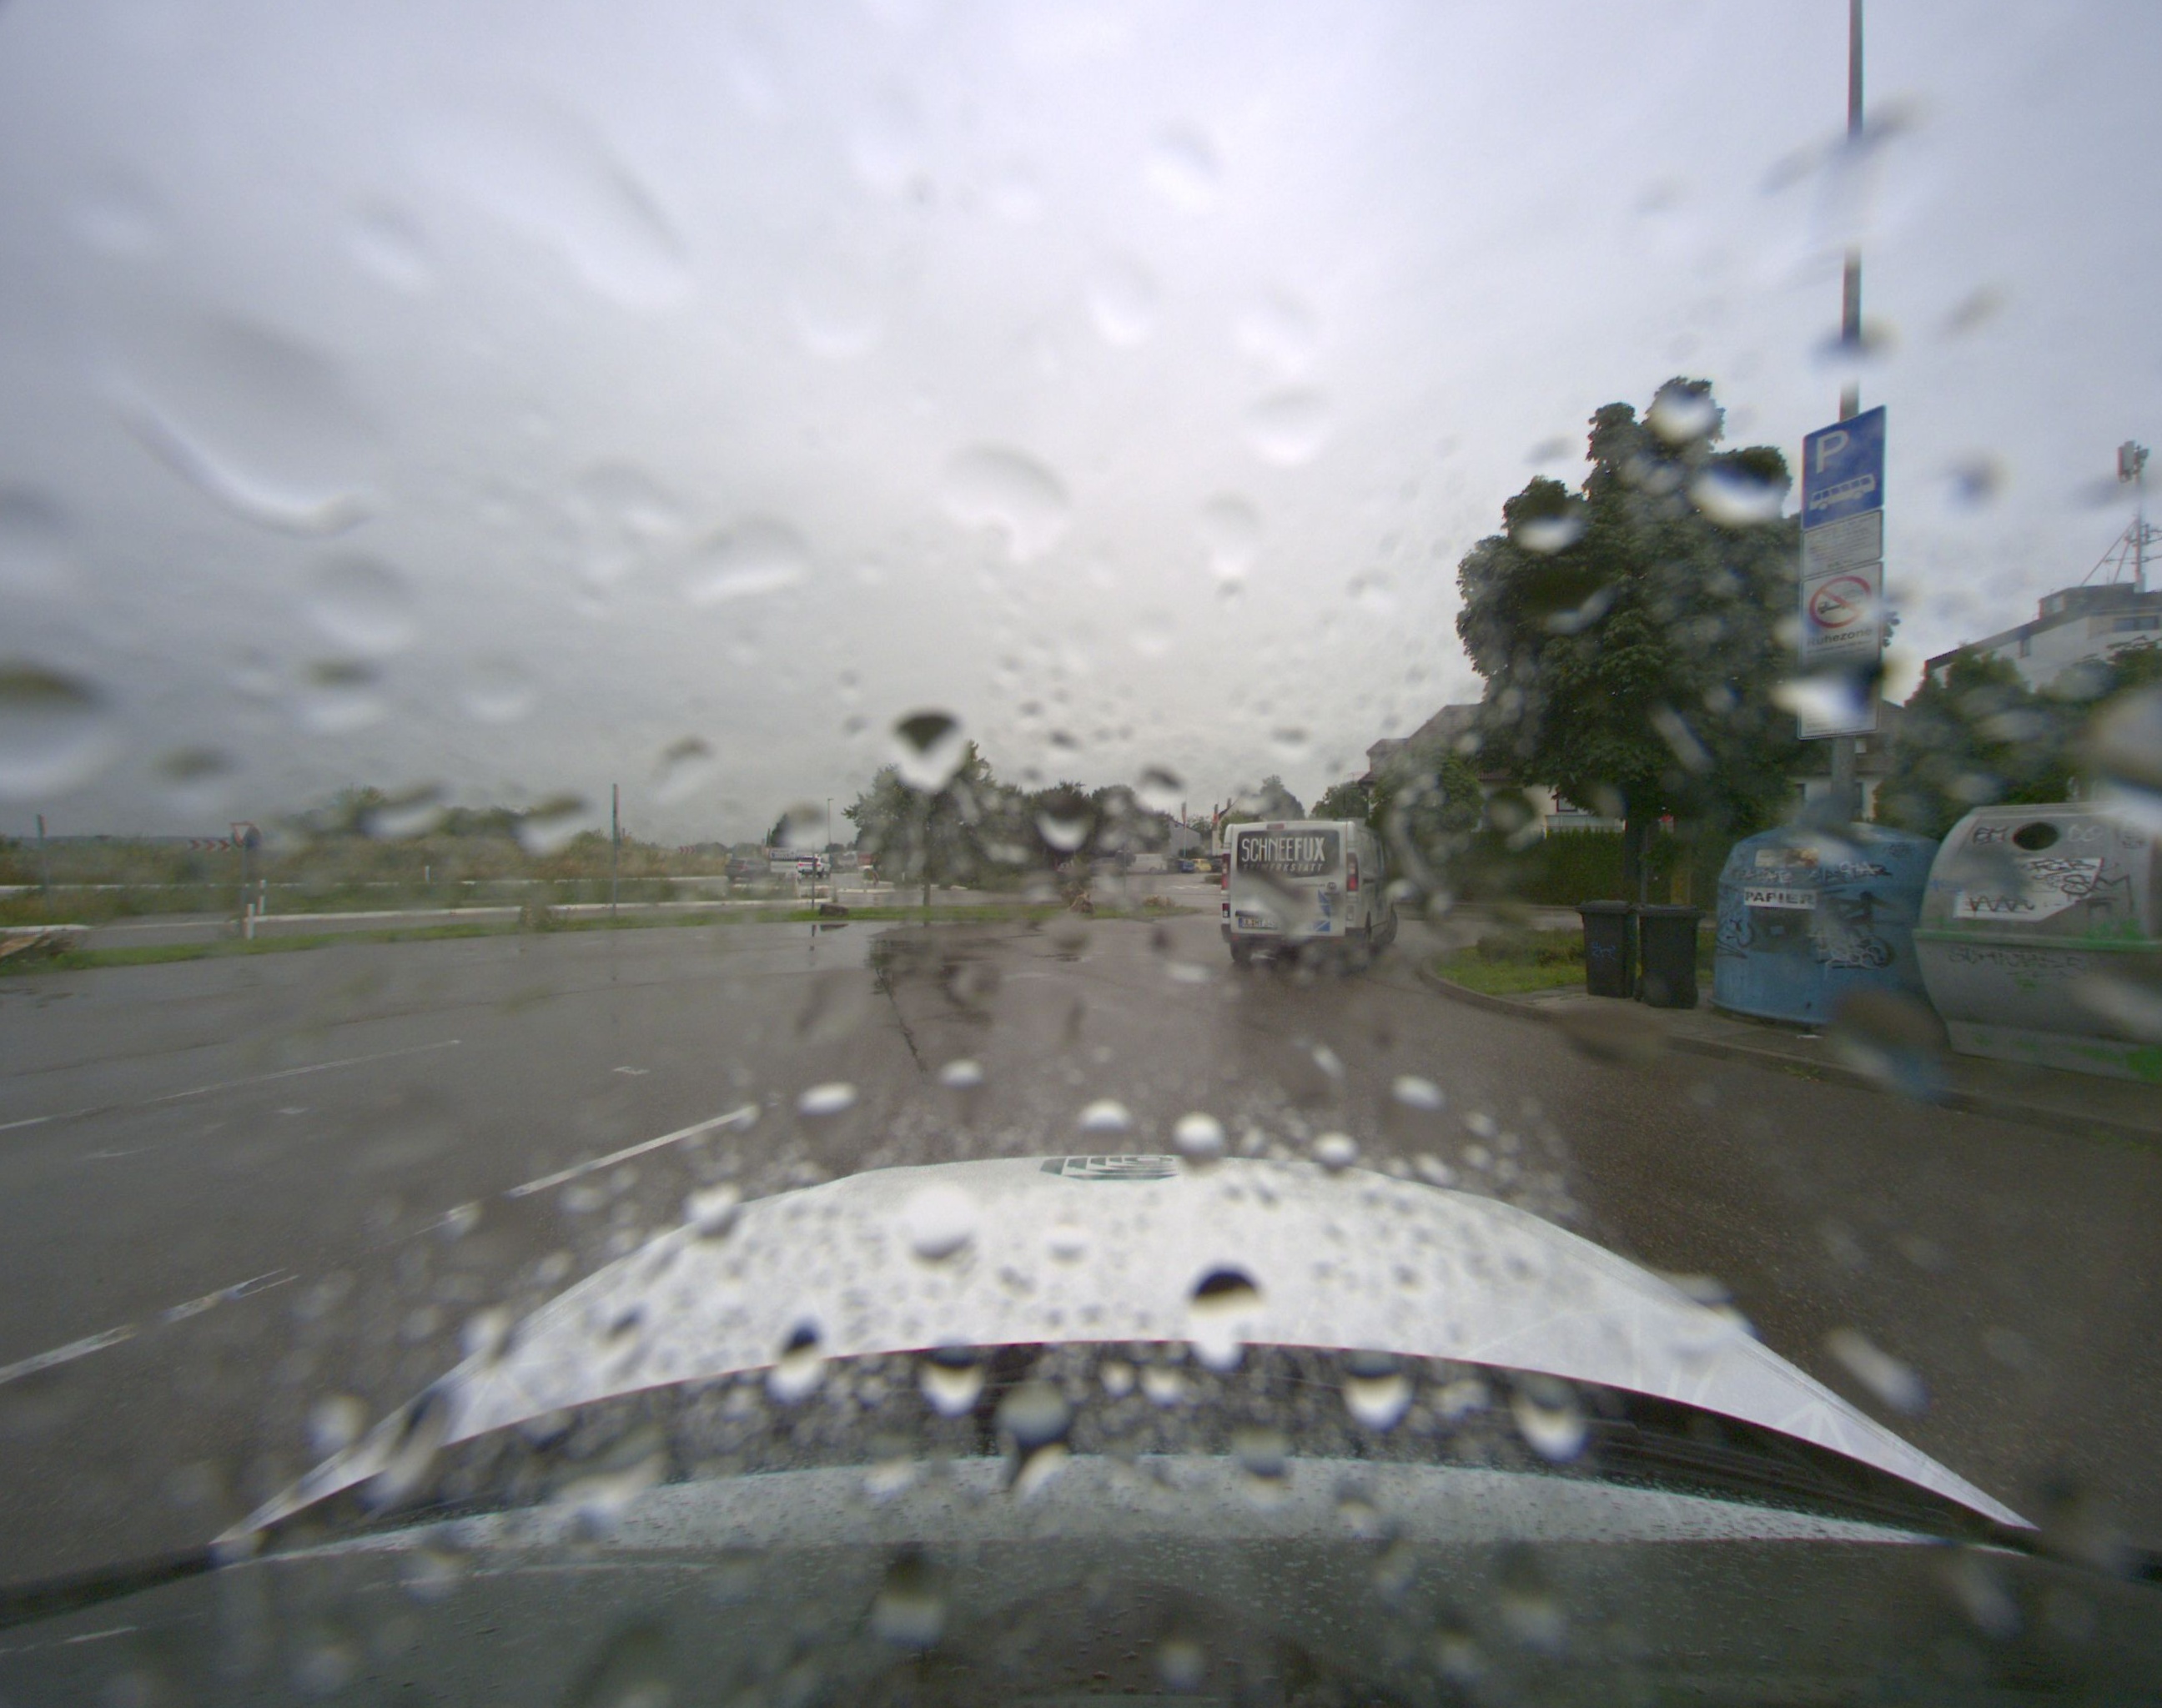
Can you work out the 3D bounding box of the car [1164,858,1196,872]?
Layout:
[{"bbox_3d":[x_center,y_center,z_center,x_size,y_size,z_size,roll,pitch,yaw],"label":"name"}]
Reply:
[{"bbox_3d":[10.263,1.117,84.532,1.558,1.458,3.650,-1,0,-25],"label":"car"}]

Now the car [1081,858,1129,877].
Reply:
[{"bbox_3d":[2.031,1.157,68.742,3.700,1.551,1.458,-1,0,20],"label":"car"}]

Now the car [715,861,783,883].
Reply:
[{"bbox_3d":[-21.324,1.156,52.443,1.674,1.326,4.064,-1,0,21],"label":"car"}]

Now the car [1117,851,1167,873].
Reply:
[{"bbox_3d":[5.866,0.779,78.049,4.482,2.033,1.653,-1,0,21],"label":"car"}]

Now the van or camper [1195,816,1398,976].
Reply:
[{"bbox_3d":[3.603,0.509,12.721,2.168,1.945,5.227,0,0,25],"label":"van or camper"}]

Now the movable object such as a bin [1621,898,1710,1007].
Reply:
[{"bbox_3d":[5.241,0.872,7.317,0.447,0.917,0.489,-1,0,2],"label":"movable object such as a bin"}]

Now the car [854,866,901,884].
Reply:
[{"bbox_3d":[-20.960,2.120,83.979,4.387,1.759,1.729,0,-1,-38],"label":"car"}]

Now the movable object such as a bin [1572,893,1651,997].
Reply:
[{"bbox_3d":[5.107,0.860,7.855,0.447,0.938,0.489,-1,0,2],"label":"movable object such as a bin"}]

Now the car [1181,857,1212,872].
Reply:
[{"bbox_3d":[12.256,1.090,86.447,1.588,1.458,3.650,-1,0,-25],"label":"car"}]

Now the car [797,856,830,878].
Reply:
[{"bbox_3d":[-20.186,0.943,61.667,1.688,1.584,4.372,-1,0,-9],"label":"car"}]

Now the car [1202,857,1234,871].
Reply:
[{"bbox_3d":[14.610,1.054,87.255,1.588,1.458,3.650,-1,0,-25],"label":"car"}]

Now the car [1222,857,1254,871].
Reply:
[{"bbox_3d":[17.054,1.031,88.542,1.588,1.458,3.650,-1,0,-25],"label":"car"}]
